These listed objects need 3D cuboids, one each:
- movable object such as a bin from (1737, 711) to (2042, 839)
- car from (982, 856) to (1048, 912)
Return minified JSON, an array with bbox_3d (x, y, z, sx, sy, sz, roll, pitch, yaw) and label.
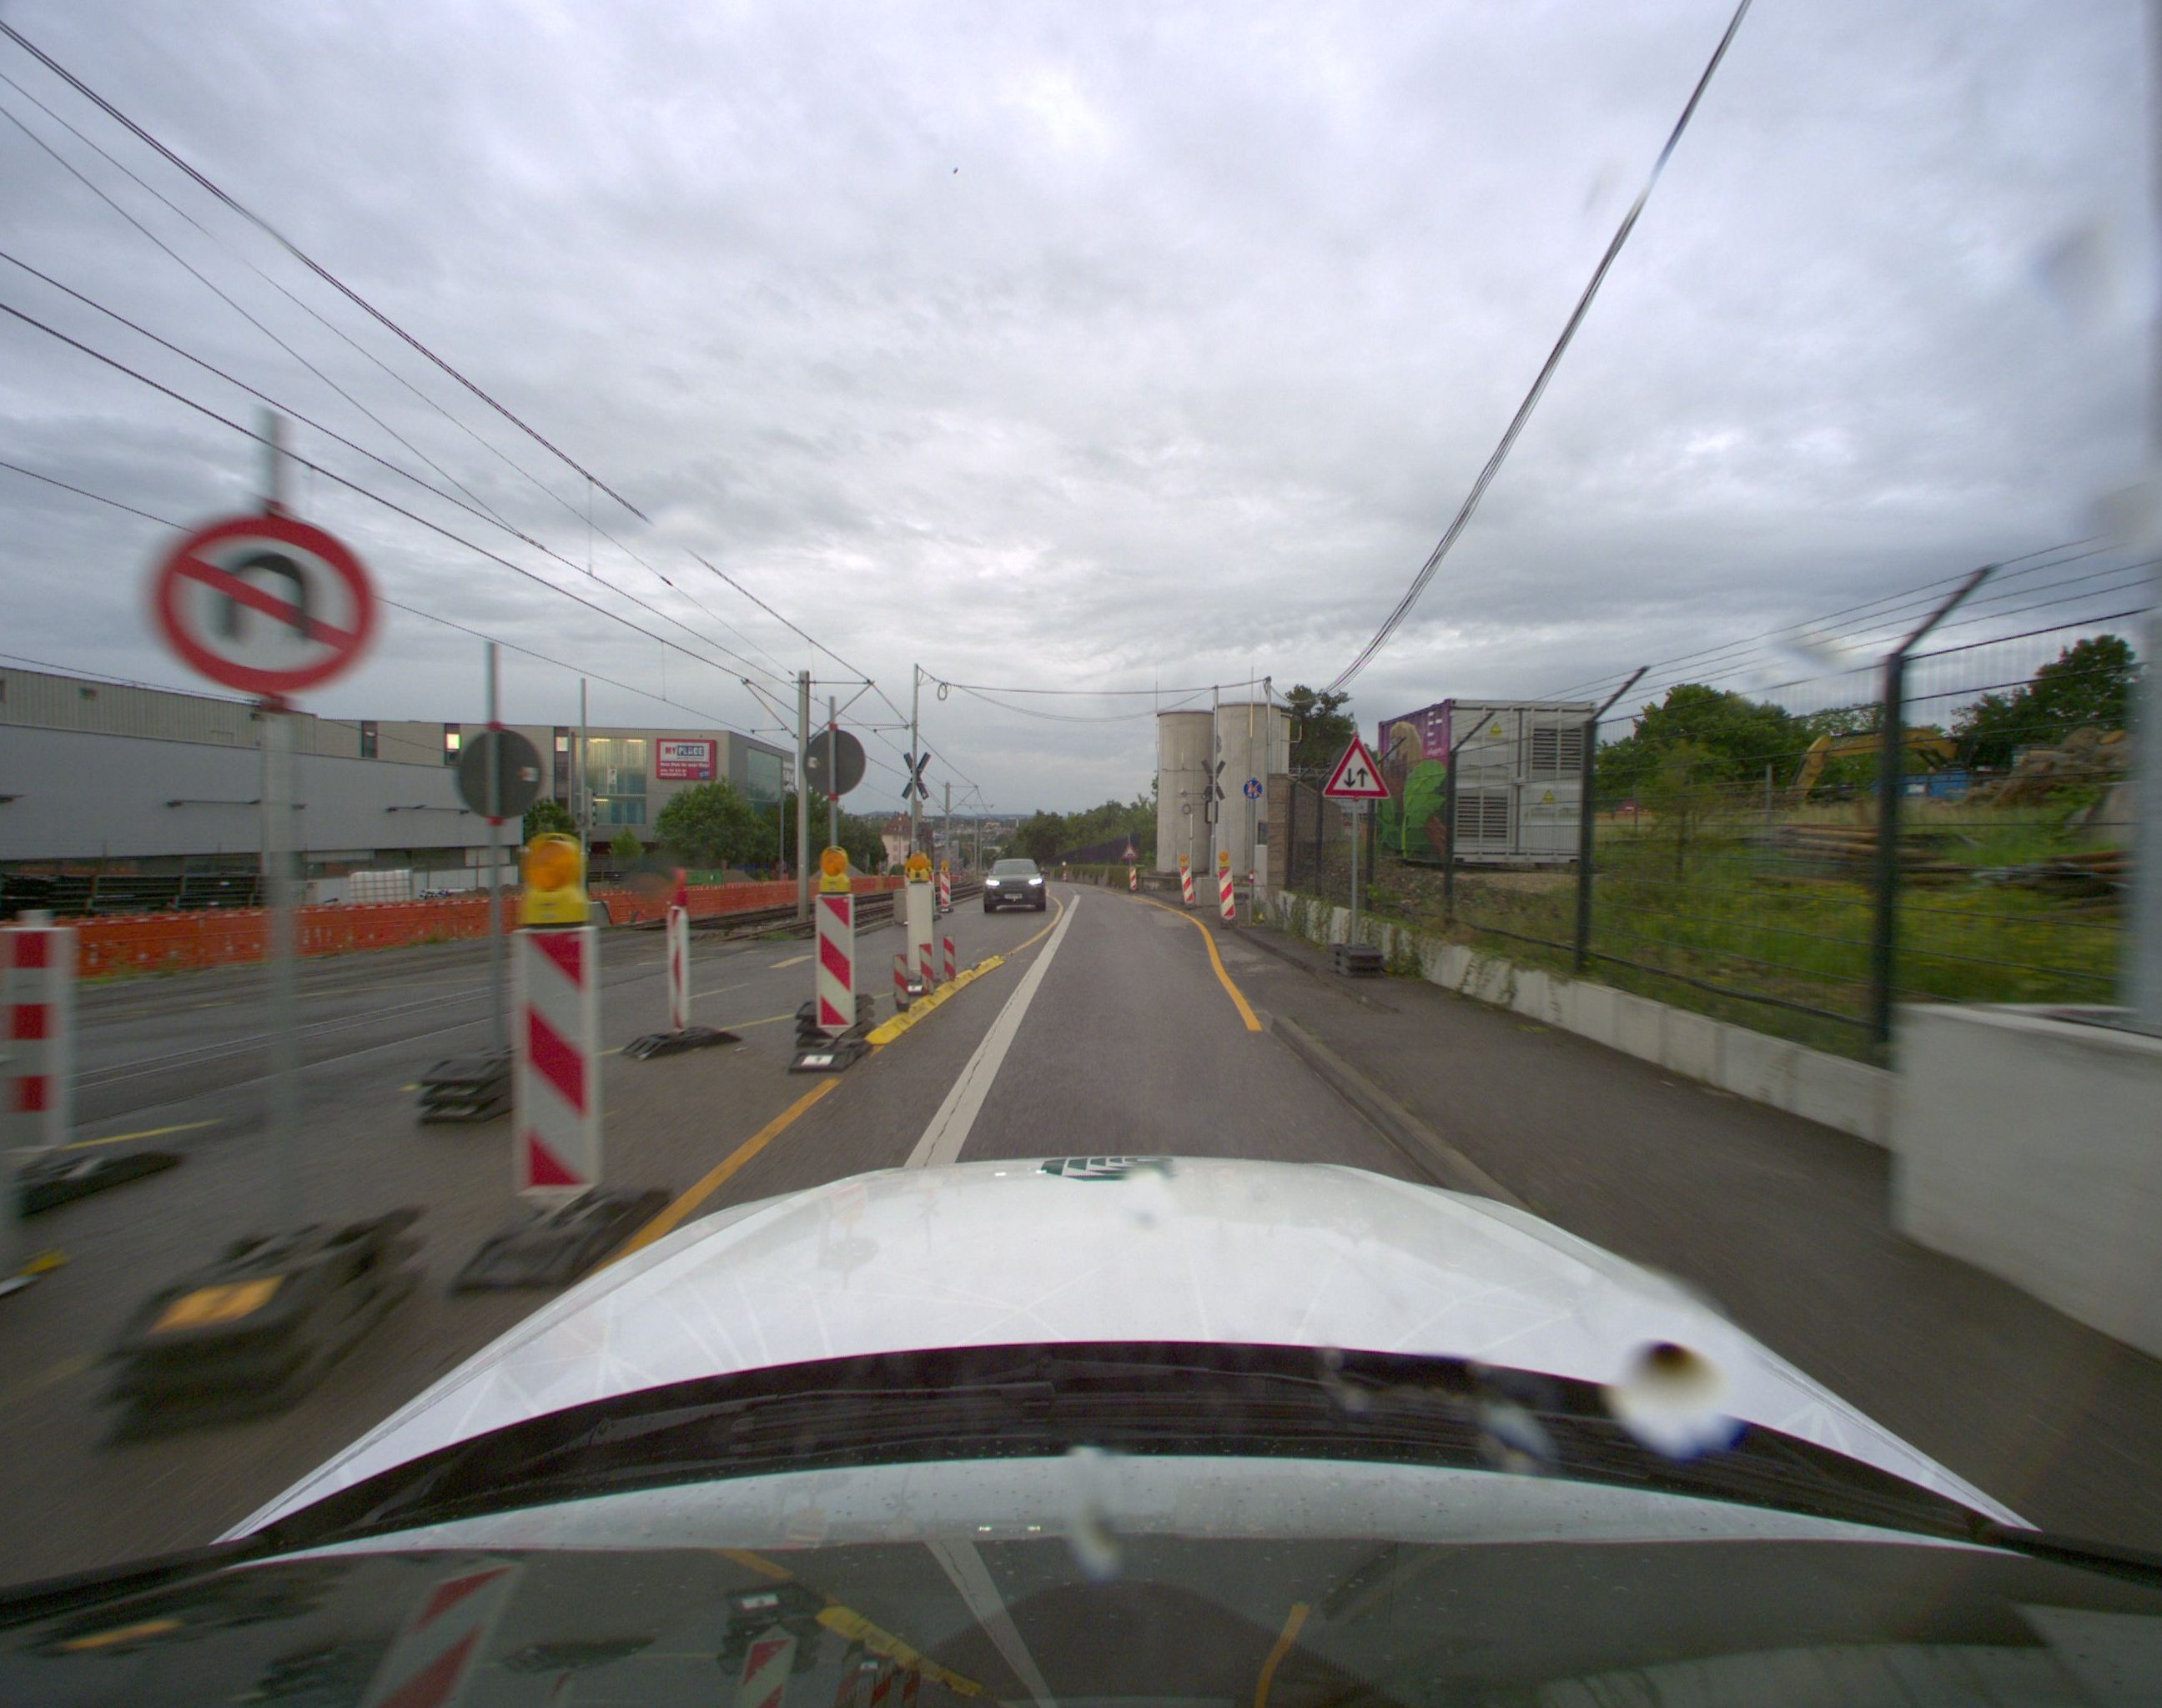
[{"bbox_3d":[41.470,-3.883,42.311,11.158,5.995,3.502,-1,0,11],"label":"movable object such as a bin"},{"bbox_3d":[-2.132,0.934,27.006,1.989,1.678,4.483,-1,0,-3],"label":"car"}]
